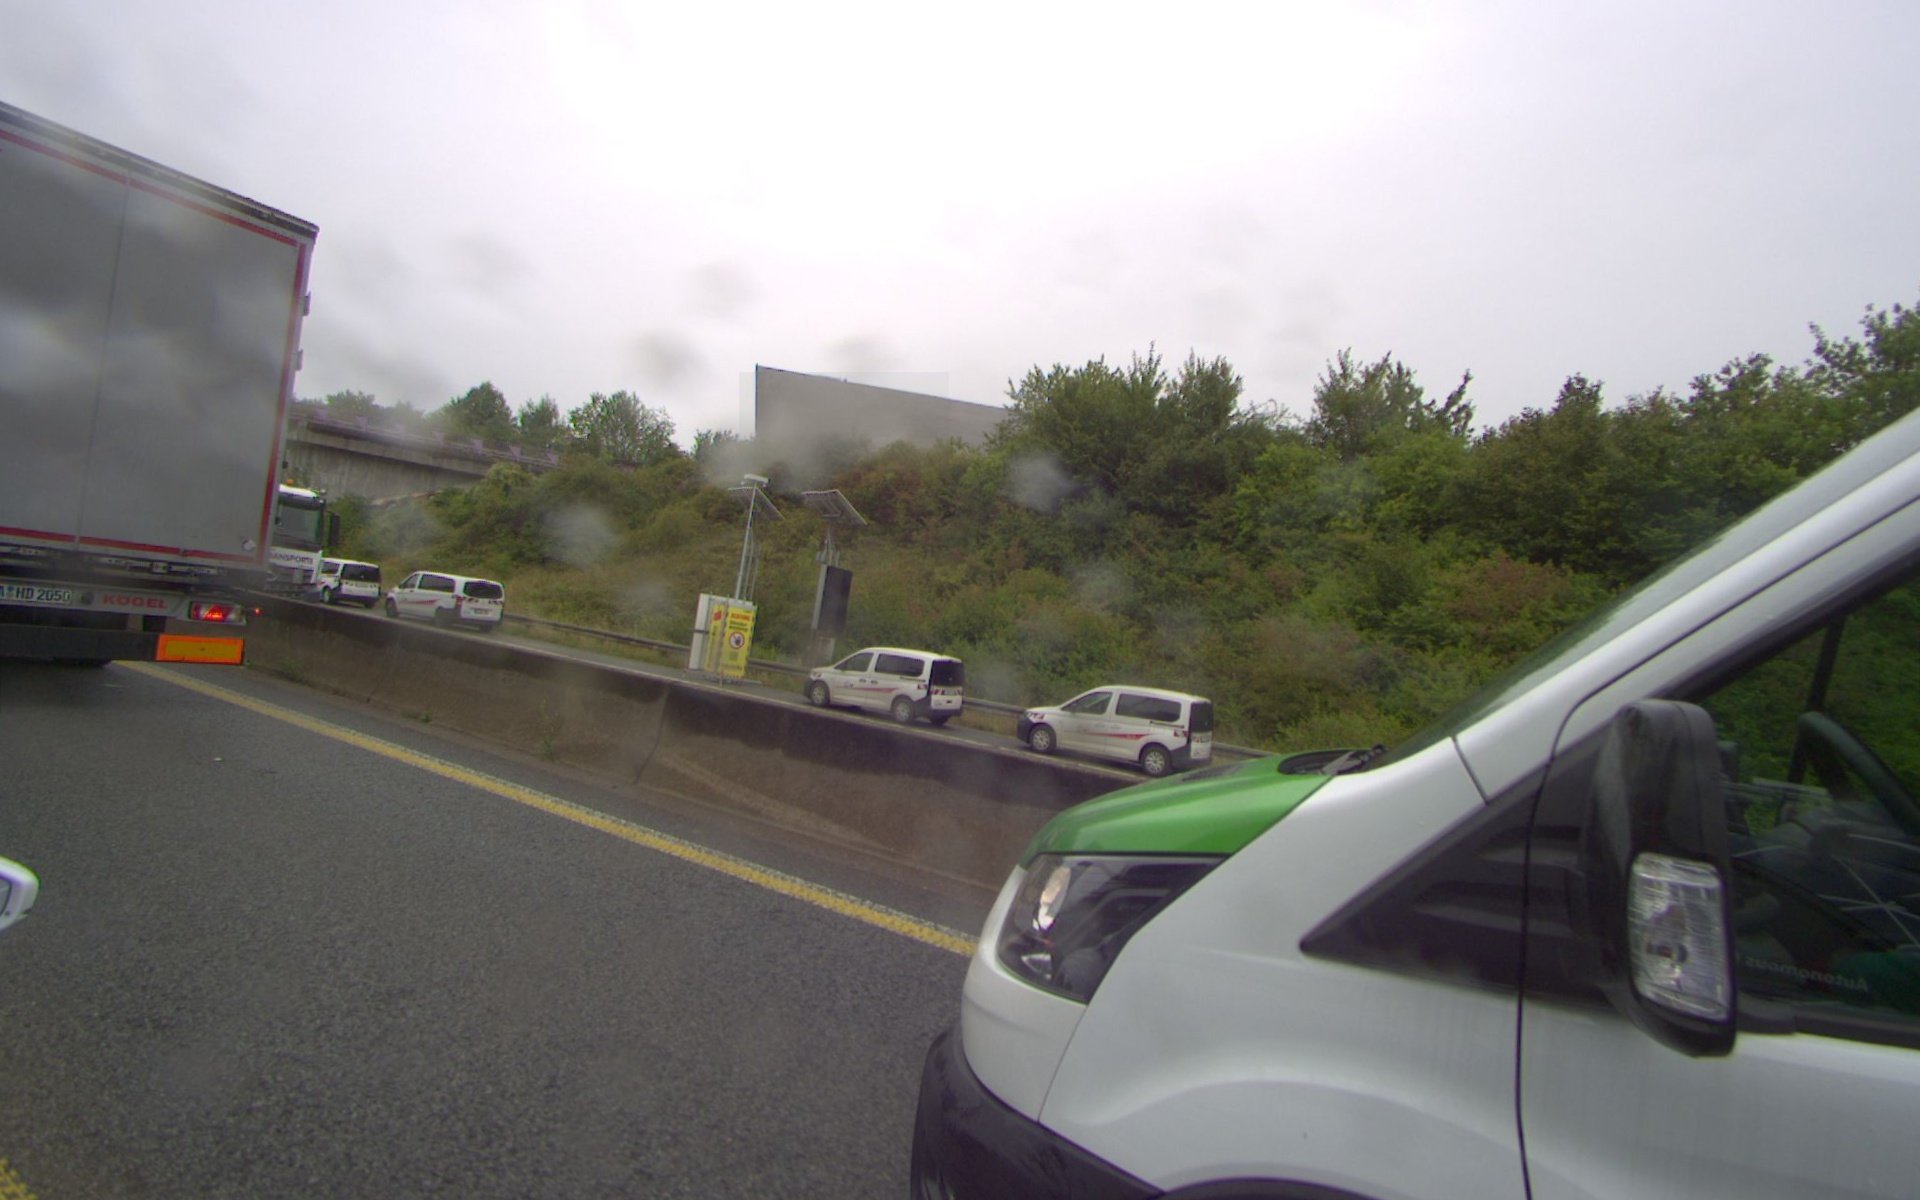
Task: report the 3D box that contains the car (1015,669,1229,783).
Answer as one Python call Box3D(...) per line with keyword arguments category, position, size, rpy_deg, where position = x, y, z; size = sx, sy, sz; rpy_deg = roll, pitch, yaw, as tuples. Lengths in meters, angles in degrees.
Box3D(category="car", position=(3.596, 2.750, 22.554), size=(4.257, 1.790, 1.732), rpy_deg=(7, -1, 31))

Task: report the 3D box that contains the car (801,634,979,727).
Box3D(category="car", position=(-1.844, 2.050, 25.979), size=(4.197, 1.778, 1.732), rpy_deg=(7, -1, 31))

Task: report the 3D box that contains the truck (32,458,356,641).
Box3D(category="truck", position=(-17.415, -1.264, 22.608), size=(8.968, 3.168, 2.525), rpy_deg=(7, -1, 32))

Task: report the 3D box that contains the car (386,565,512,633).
Box3D(category="car", position=(-18.611, -0.044, 36.588), size=(4.651, 1.850, 1.945), rpy_deg=(6, -2, 34))

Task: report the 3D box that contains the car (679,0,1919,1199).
Box3D(category="car", position=(2.708, 0.460, 1.080), size=(6.016, 2.707, 2.148), rpy_deg=(7, -1, 32))

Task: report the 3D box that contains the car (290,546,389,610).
Box3D(category="car", position=(-25.198, -0.919, 40.821), size=(4.058, 2.082, 1.731), rpy_deg=(6, -1, 34))

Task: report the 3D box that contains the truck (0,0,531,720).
Box3D(category="truck", position=(-13.488, -2.934, 12.627), size=(20.046, 5.740, 3.985), rpy_deg=(6, -1, 33))
